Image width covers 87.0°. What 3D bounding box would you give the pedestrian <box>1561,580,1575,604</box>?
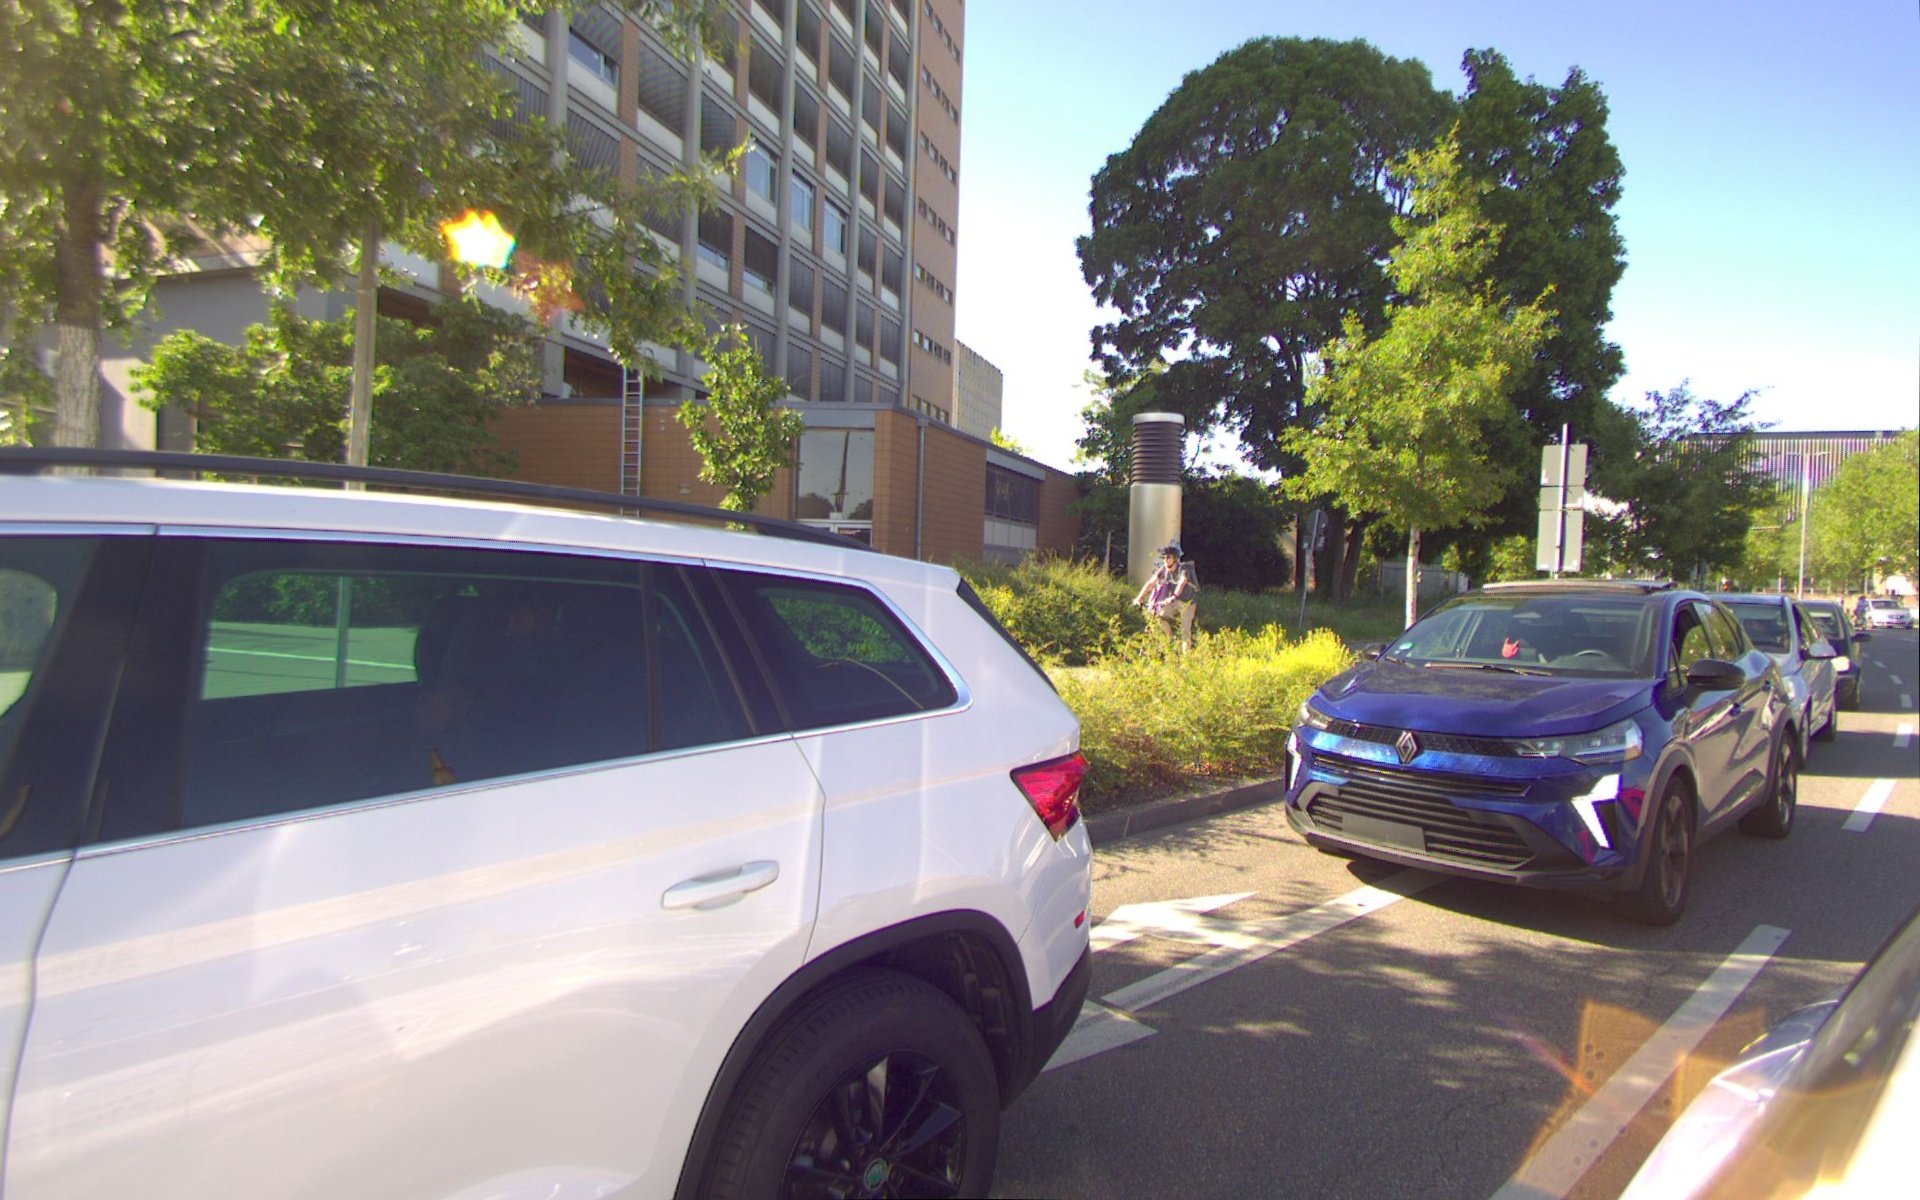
[{"bbox_3d":[48.225,-0.621,80.313,0.811,1.941,0.767,0,0,20],"label":"pedestrian"}]

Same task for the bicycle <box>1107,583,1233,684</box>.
[{"bbox_3d":[2.844,0.415,13.602,1.804,1.232,0.691,0,4,-43],"label":"bicycle"}]

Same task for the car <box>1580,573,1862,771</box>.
[{"bbox_3d":[8.086,0.596,10.613,3.977,1.645,1.782,0,2,-45],"label":"car"}]

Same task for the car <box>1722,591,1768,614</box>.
[{"bbox_3d":[51.406,0.142,66.317,1.736,1.396,3.540,1,1,28],"label":"car"}]

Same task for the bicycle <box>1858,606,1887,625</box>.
[{"bbox_3d":[45.443,0.774,50.415,0.584,0.900,1.641,0,0,25],"label":"bicycle"}]

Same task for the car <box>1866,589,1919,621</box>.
[{"bbox_3d":[50.787,0.272,54.857,1.509,1.700,3.353,1,0,24],"label":"car"}]

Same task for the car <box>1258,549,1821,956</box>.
[{"bbox_3d":[3.637,0.596,6.019,4.013,1.626,1.703,0,1,-42],"label":"car"}]

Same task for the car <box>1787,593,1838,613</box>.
[{"bbox_3d":[56.853,0.189,67.528,1.569,1.219,3.966,2,2,25],"label":"car"}]

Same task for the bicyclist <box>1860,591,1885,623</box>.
[{"bbox_3d":[45.423,0.335,50.371,0.688,1.578,0.809,0,0,25],"label":"bicyclist"}]

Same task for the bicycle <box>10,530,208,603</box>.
[{"bbox_3d":[-17.553,-0.676,21.016,0.790,1.394,3.111,2,1,26],"label":"bicycle"}]

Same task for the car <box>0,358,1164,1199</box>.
[{"bbox_3d":[-1.651,0.547,1.653,4.223,1.662,1.697,0,2,-42],"label":"car"}]

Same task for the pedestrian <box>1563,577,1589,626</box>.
[{"bbox_3d":[21.202,0.045,34.846,0.688,1.624,0.653,2,1,35],"label":"pedestrian"}]

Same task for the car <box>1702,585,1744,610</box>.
[{"bbox_3d":[64.774,-0.257,85.977,1.767,2.039,4.201,1,1,22],"label":"car"}]

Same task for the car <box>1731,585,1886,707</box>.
[{"bbox_3d":[13.188,0.617,15.672,1.646,1.631,3.435,3,2,43],"label":"car"}]

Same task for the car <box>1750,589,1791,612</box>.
[{"bbox_3d":[61.521,0.011,76.856,1.578,1.625,3.048,2,1,23],"label":"car"}]

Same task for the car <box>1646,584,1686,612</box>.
[{"bbox_3d":[51.281,-0.159,73.588,1.811,1.876,3.717,2,1,27],"label":"car"}]

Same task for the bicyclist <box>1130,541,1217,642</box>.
[{"bbox_3d":[2.885,-0.124,13.672,0.892,1.294,0.721,0,4,-44],"label":"bicyclist"}]

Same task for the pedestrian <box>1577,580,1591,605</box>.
[{"bbox_3d":[49.039,-0.615,79.574,0.811,1.941,0.767,0,0,20],"label":"pedestrian"}]

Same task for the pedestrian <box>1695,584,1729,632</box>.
[{"bbox_3d":[26.130,0.262,35.162,0.682,1.624,0.659,2,1,12],"label":"pedestrian"}]
